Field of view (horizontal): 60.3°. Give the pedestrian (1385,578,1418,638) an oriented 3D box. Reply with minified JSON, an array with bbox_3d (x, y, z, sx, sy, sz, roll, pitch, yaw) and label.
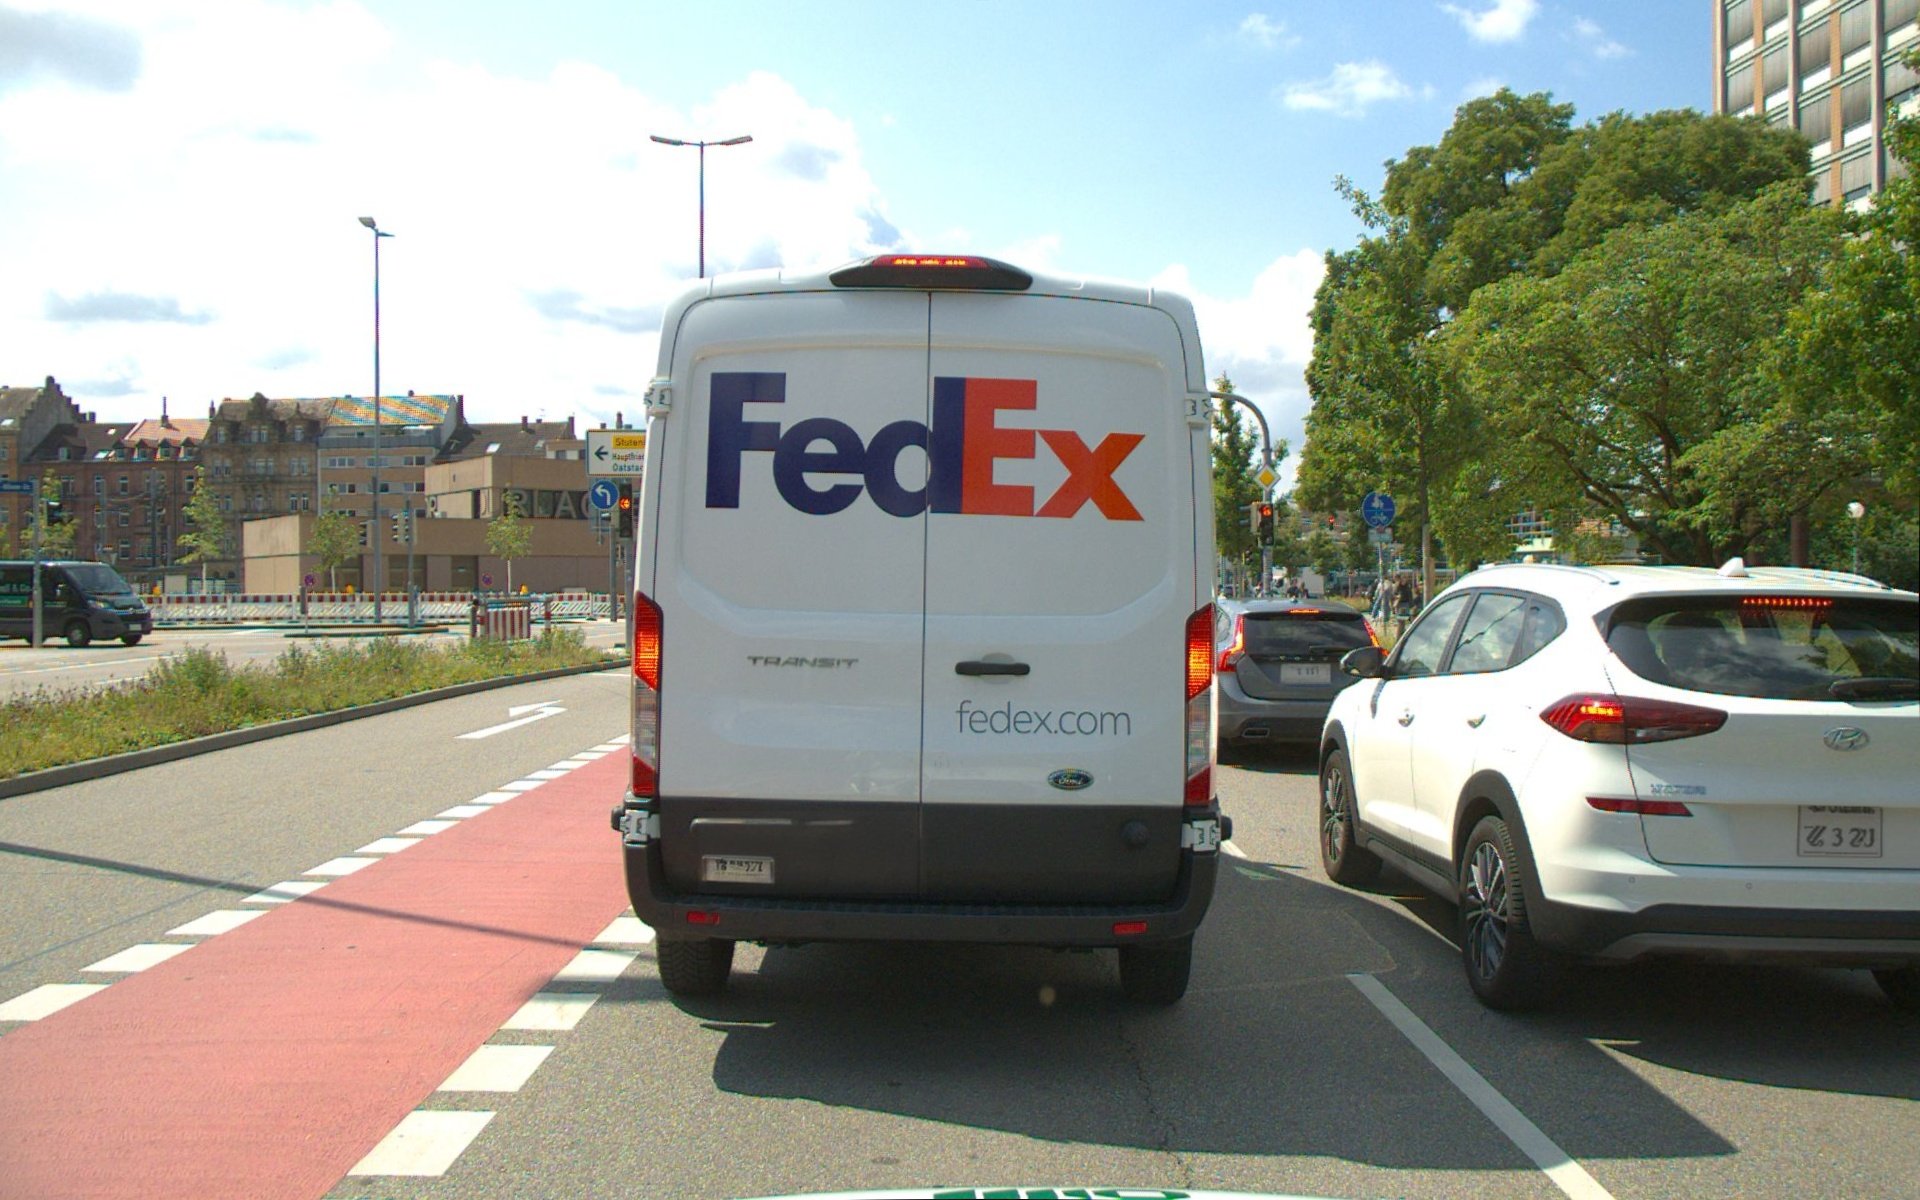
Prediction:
[{"bbox_3d":[12.595,0.217,47.170,0.743,1.684,0.816,0,0,3],"label":"pedestrian"}]

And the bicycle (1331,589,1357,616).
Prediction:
[{"bbox_3d":[22.449,0.125,96.594,1.395,1.489,4.314,0,1,14],"label":"bicycle"}]

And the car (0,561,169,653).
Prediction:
[{"bbox_3d":[-23.607,0.202,43.203,4.895,2.213,2.157,-2,1,11],"label":"car"}]

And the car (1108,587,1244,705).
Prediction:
[{"bbox_3d":[2.928,0.582,22.957,1.468,1.489,3.474,0,1,1],"label":"car"}]

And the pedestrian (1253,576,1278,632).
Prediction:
[{"bbox_3d":[10.493,0.129,56.845,0.743,1.882,0.816,0,0,18],"label":"pedestrian"}]

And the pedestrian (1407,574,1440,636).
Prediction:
[{"bbox_3d":[14.343,0.149,51.193,0.744,1.882,0.815,-1,0,-5],"label":"pedestrian"}]

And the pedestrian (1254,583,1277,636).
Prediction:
[{"bbox_3d":[10.933,0.347,59.208,0.742,1.882,0.817,0,0,14],"label":"pedestrian"}]

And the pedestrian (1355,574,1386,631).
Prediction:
[{"bbox_3d":[13.864,0.084,55.850,0.745,1.882,0.814,-1,0,-11],"label":"pedestrian"}]

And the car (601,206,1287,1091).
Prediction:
[{"bbox_3d":[-0.018,0.122,7.142,2.030,2.626,4.428,0,1,1],"label":"car"}]

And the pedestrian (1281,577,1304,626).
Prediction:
[{"bbox_3d":[12.821,0.052,63.762,0.743,1.882,0.816,0,0,3],"label":"pedestrian"}]

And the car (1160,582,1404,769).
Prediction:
[{"bbox_3d":[2.946,0.619,15.859,1.656,1.576,3.721,0,1,1],"label":"car"}]

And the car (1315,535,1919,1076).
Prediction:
[{"bbox_3d":[2.847,0.627,7.225,1.777,1.708,3.974,0,1,1],"label":"car"}]

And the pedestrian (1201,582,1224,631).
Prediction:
[{"bbox_3d":[9.637,0.240,63.088,0.743,1.882,0.816,0,0,0],"label":"pedestrian"}]

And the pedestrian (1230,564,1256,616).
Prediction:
[{"bbox_3d":[10.261,-0.355,59.996,0.796,1.882,0.761,0,0,2],"label":"pedestrian"}]

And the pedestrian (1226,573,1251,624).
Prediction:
[{"bbox_3d":[10.515,-0.064,62.462,0.744,1.882,0.816,0,0,-3],"label":"pedestrian"}]

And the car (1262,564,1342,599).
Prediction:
[{"bbox_3d":[28.643,-1.544,138.400,7.002,2.765,2.466,1,0,-35],"label":"car"}]

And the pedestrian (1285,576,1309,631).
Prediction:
[{"bbox_3d":[11.728,0.112,57.547,0.743,1.882,0.816,0,0,18],"label":"pedestrian"}]

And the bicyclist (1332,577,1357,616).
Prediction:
[{"bbox_3d":[22.478,-0.216,96.630,1.402,2.209,1.340,0,0,14],"label":"bicyclist"}]
